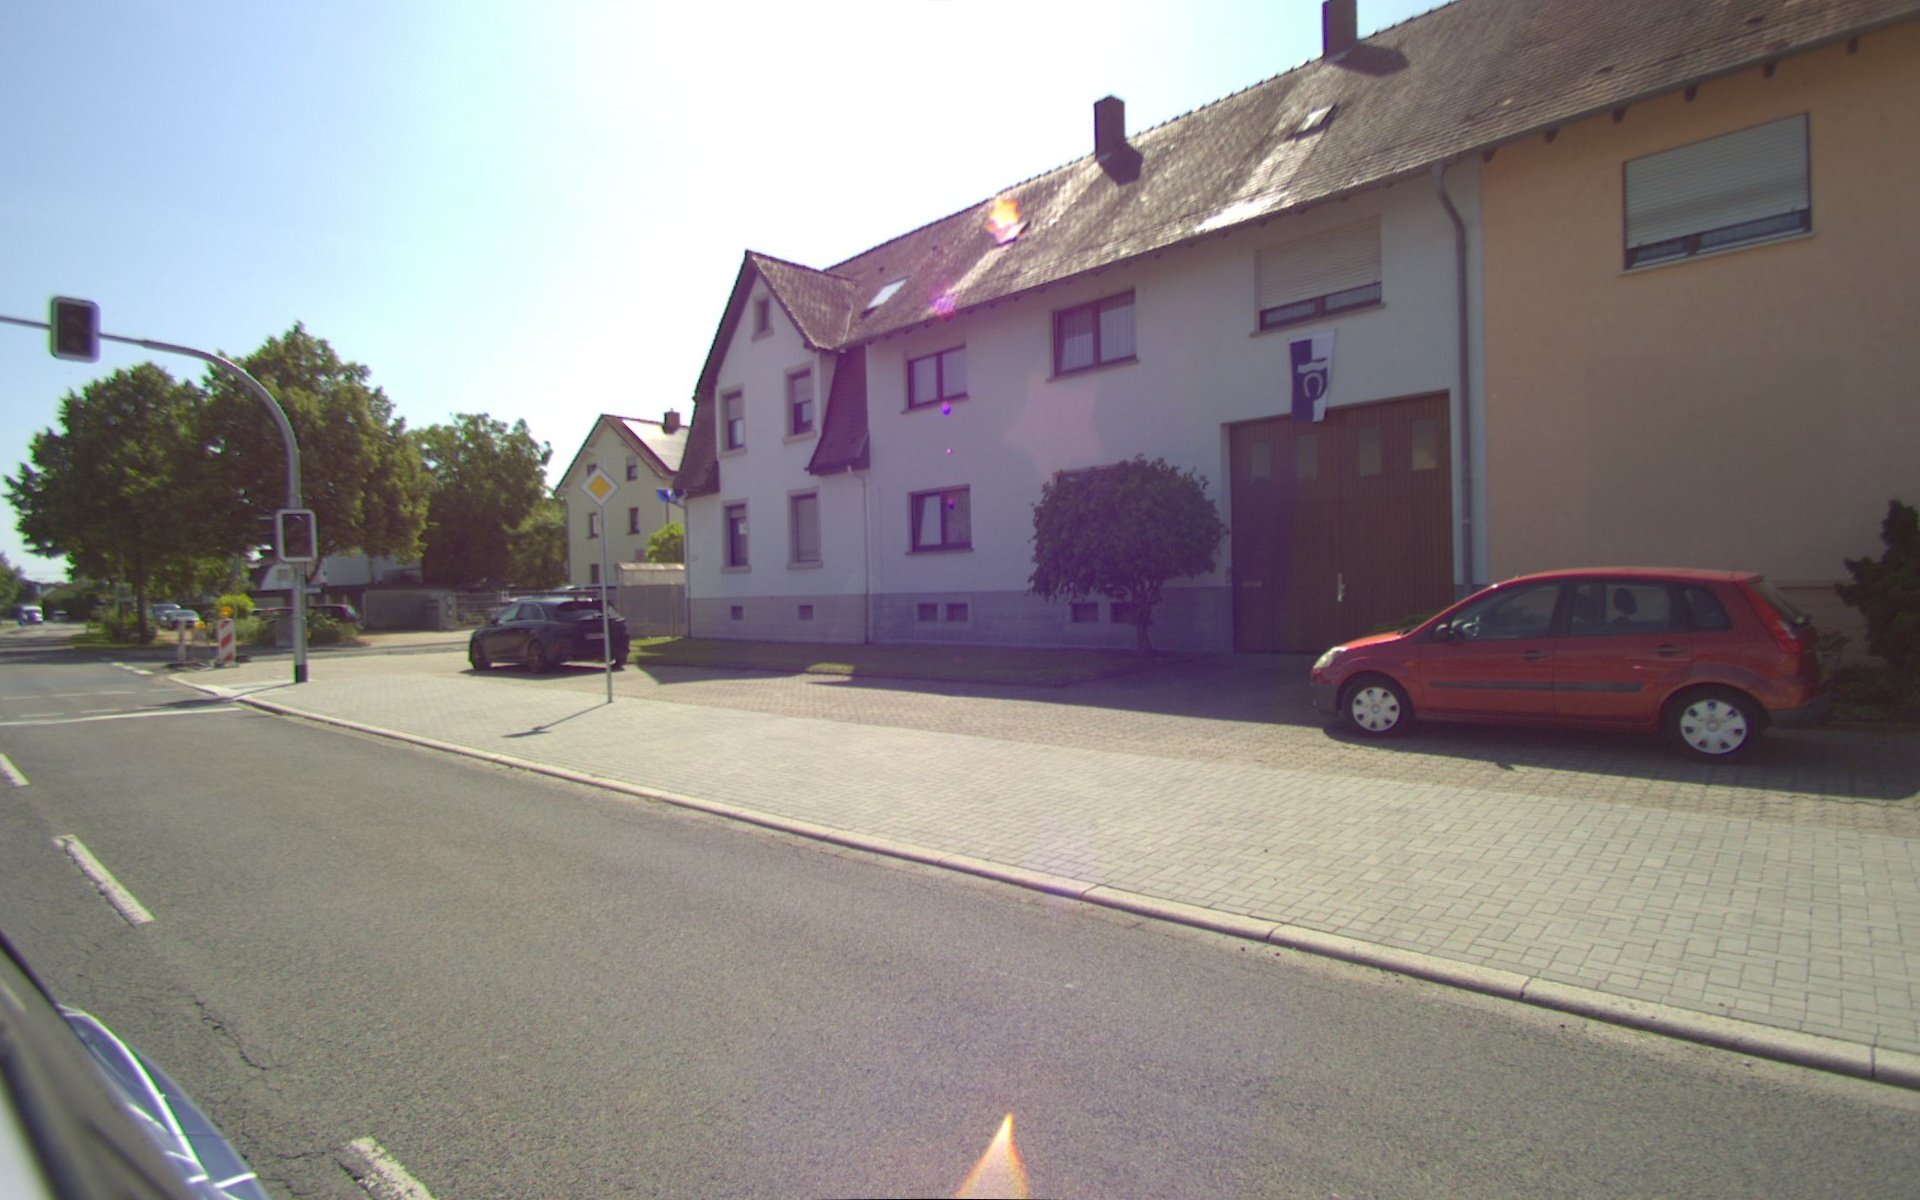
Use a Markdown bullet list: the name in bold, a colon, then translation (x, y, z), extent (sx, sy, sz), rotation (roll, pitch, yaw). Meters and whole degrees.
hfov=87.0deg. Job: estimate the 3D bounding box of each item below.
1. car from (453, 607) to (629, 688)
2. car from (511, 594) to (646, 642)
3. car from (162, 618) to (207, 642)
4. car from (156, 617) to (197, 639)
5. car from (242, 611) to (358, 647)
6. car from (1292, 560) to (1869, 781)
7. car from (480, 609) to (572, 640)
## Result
- **car**: translation (-8.577, 0.882, 20.538), extent (4.399, 1.418, 1.695), rotation (0, 0, 44)
- **car**: translation (-17.454, 0.771, 46.539), extent (1.999, 2.061, 5.552), rotation (-1, -1, 41)
- **car**: translation (-51.946, 1.960, 67.751), extent (1.970, 1.516, 4.003), rotation (0, -1, -44)
- **car**: translation (-57.697, 2.038, 74.516), extent (1.970, 1.516, 4.003), rotation (0, -1, -44)
- **car**: translation (-29.593, 1.281, 45.485), extent (3.933, 1.516, 2.006), rotation (-1, 0, -15)
- **car**: translation (5.111, 0.511, 8.669), extent (3.913, 1.464, 1.696), rotation (-3, 0, 42)
- **car**: translation (-22.669, 1.264, 52.940), extent (2.000, 1.516, 3.944), rotation (-1, -1, 42)
